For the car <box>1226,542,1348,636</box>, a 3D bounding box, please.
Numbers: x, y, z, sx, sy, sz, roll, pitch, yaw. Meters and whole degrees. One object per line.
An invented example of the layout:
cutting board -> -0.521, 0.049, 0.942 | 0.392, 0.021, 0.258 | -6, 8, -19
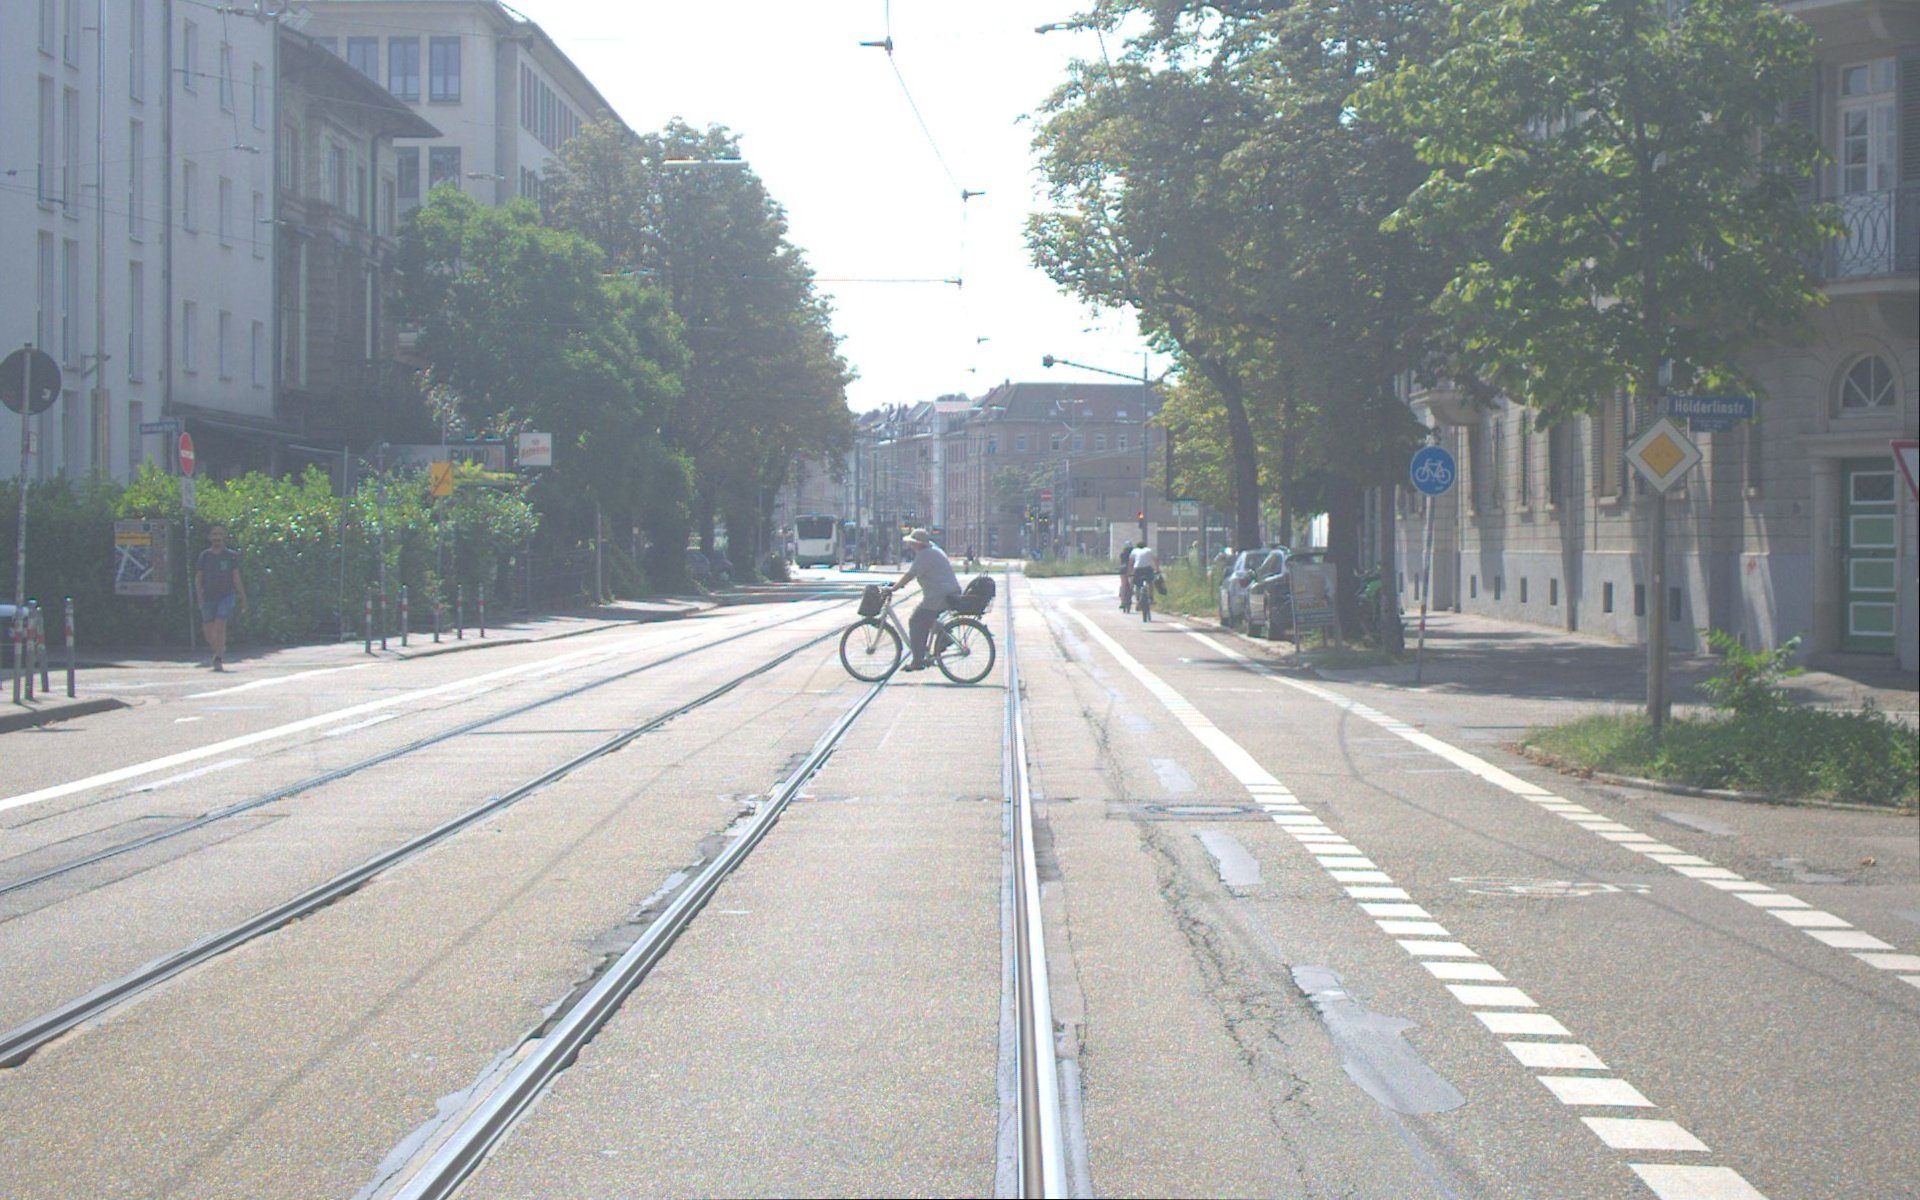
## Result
car -> 5.278, -0.179, 55.763 | 1.583, 1.459, 3.416 | 0, 0, -1

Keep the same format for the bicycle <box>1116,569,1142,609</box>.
bicycle -> 4.018, -0.269, 81.494 | 0.588, 0.936, 2.171 | 0, 1, 3

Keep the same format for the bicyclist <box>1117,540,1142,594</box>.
bicyclist -> 4.008, -0.789, 81.348 | 0.579, 1.274, 0.471 | 0, 1, 3

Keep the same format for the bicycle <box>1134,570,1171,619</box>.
bicycle -> 3.991, -0.120, 71.247 | 0.759, 0.987, 2.298 | 0, 1, 3

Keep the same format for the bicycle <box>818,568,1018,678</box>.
bicycle -> -0.455, 0.237, 37.612 | 2.036, 1.147, 0.785 | 1, 1, 18

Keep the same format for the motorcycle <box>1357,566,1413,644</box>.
motorcycle -> 6.062, 0.056, 49.085 | 0.549, 1.064, 2.330 | 0, 1, 1

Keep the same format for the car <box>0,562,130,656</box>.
car -> -13.254, 0.112, 45.052 | 4.234, 1.180, 1.998 | 0, 1, 21

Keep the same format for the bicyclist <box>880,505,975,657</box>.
bicyclist -> -0.352, -0.213, 37.573 | 0.824, 1.637, 0.785 | 1, 1, 18

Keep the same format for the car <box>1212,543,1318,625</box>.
car -> 5.593, -0.298, 63.310 | 1.583, 1.459, 3.467 | 0, 0, -1

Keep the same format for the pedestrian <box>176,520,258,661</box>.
pedestrian -> -9.366, -0.126, 43.367 | 0.779, 1.750, 1.040 | 0, 1, 1

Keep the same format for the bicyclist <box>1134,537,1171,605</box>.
bicyclist -> 3.978, -0.606, 71.088 | 0.759, 1.387, 0.779 | 0, 1, 3

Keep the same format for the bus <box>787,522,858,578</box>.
bus -> -8.557, -3.116, 215.221 | 3.735, 3.352, 15.120 | 0, 1, 0
